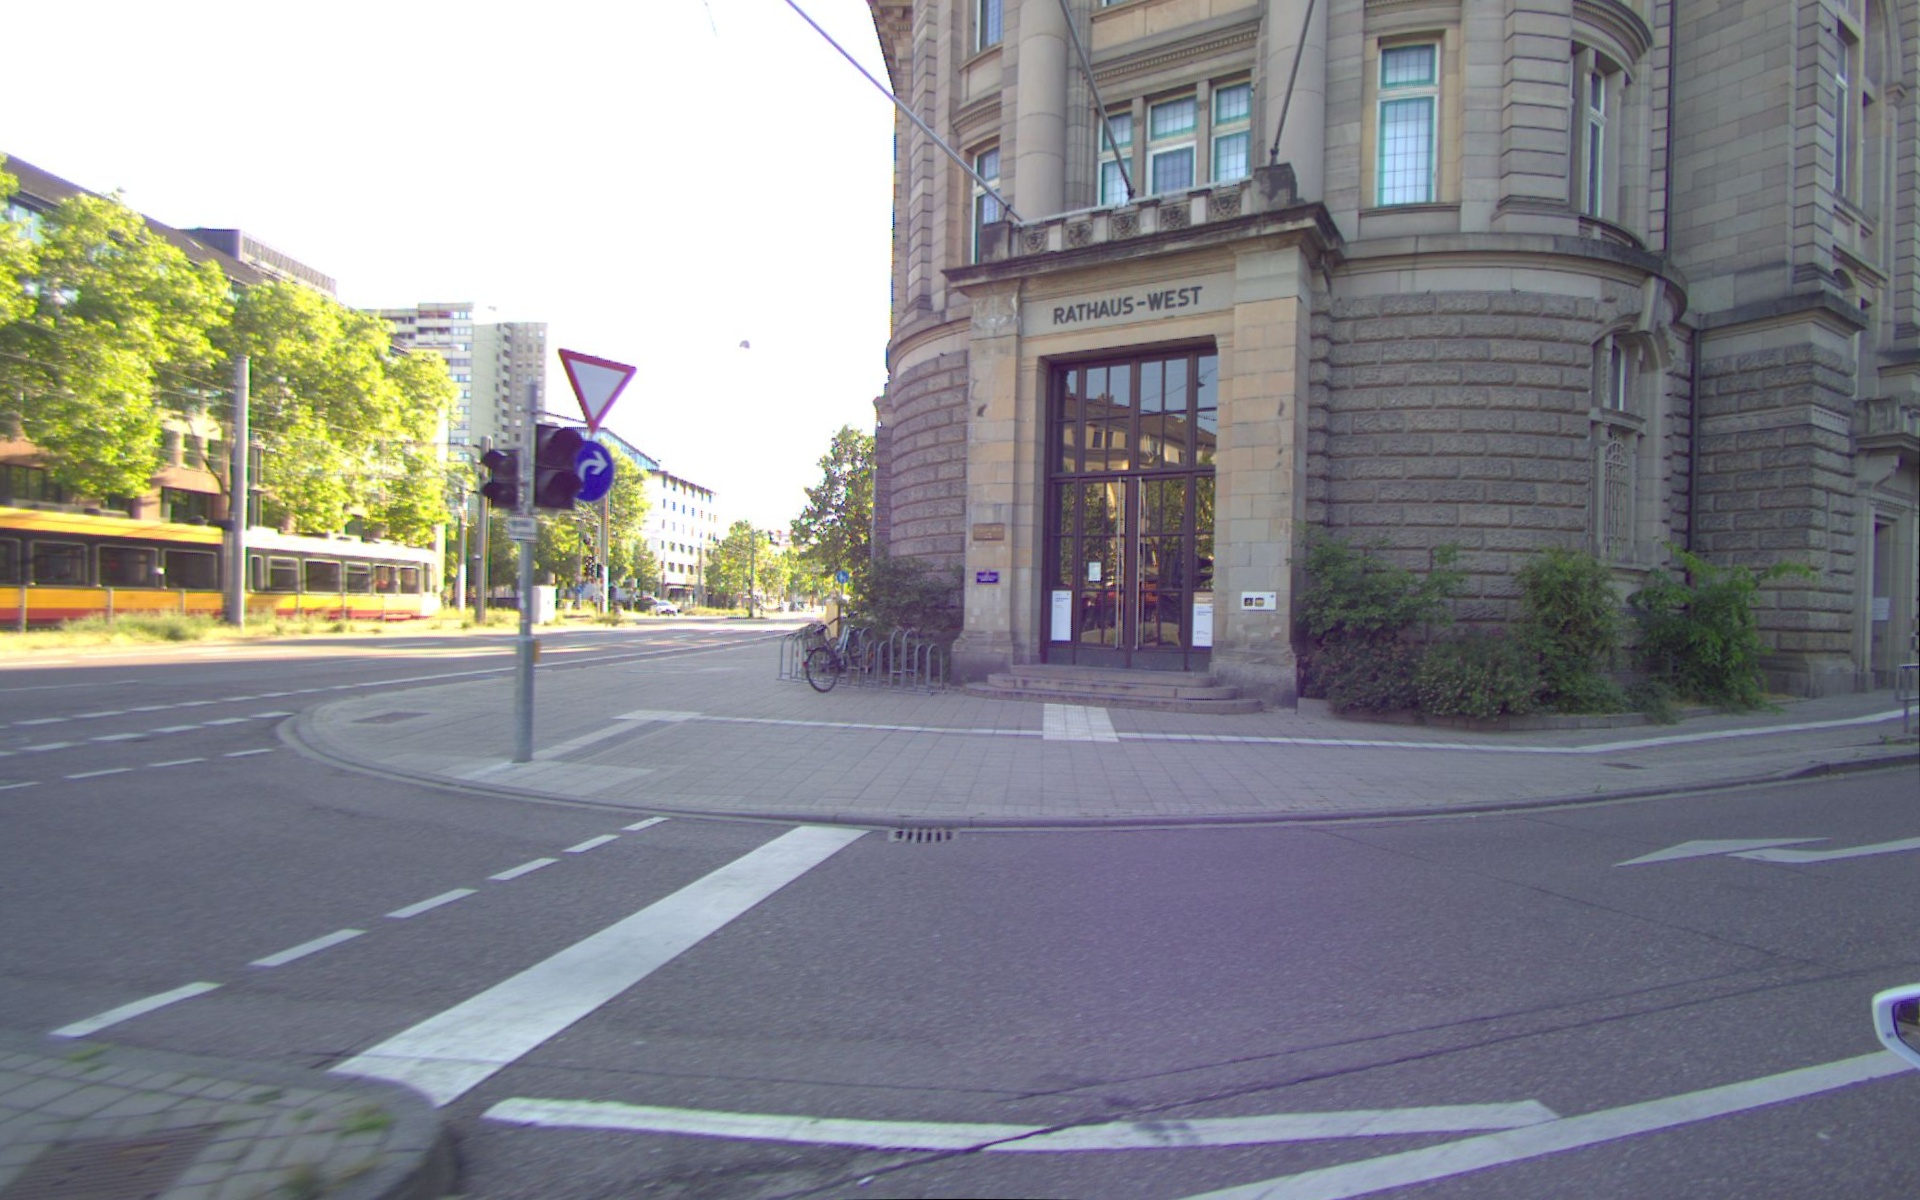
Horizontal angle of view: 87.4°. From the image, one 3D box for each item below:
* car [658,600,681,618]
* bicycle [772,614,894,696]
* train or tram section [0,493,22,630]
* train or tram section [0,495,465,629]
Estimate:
[{"bbox_3d":[-27.203,0.842,94.113,1.581,1.549,3.553,1,-1,-8],"label":"car"},{"bbox_3d":[-2.024,0.854,16.339,0.853,1.212,2.237,1,-1,27],"label":"bicycle"},{"bbox_3d":[-28.549,-1.174,18.696,3.059,3.606,17.489,1,-1,13],"label":"train or tram section"},{"bbox_3d":[-25.588,-0.895,36.997,3.059,3.606,19.944,1,-1,6],"label":"train or tram section"}]
